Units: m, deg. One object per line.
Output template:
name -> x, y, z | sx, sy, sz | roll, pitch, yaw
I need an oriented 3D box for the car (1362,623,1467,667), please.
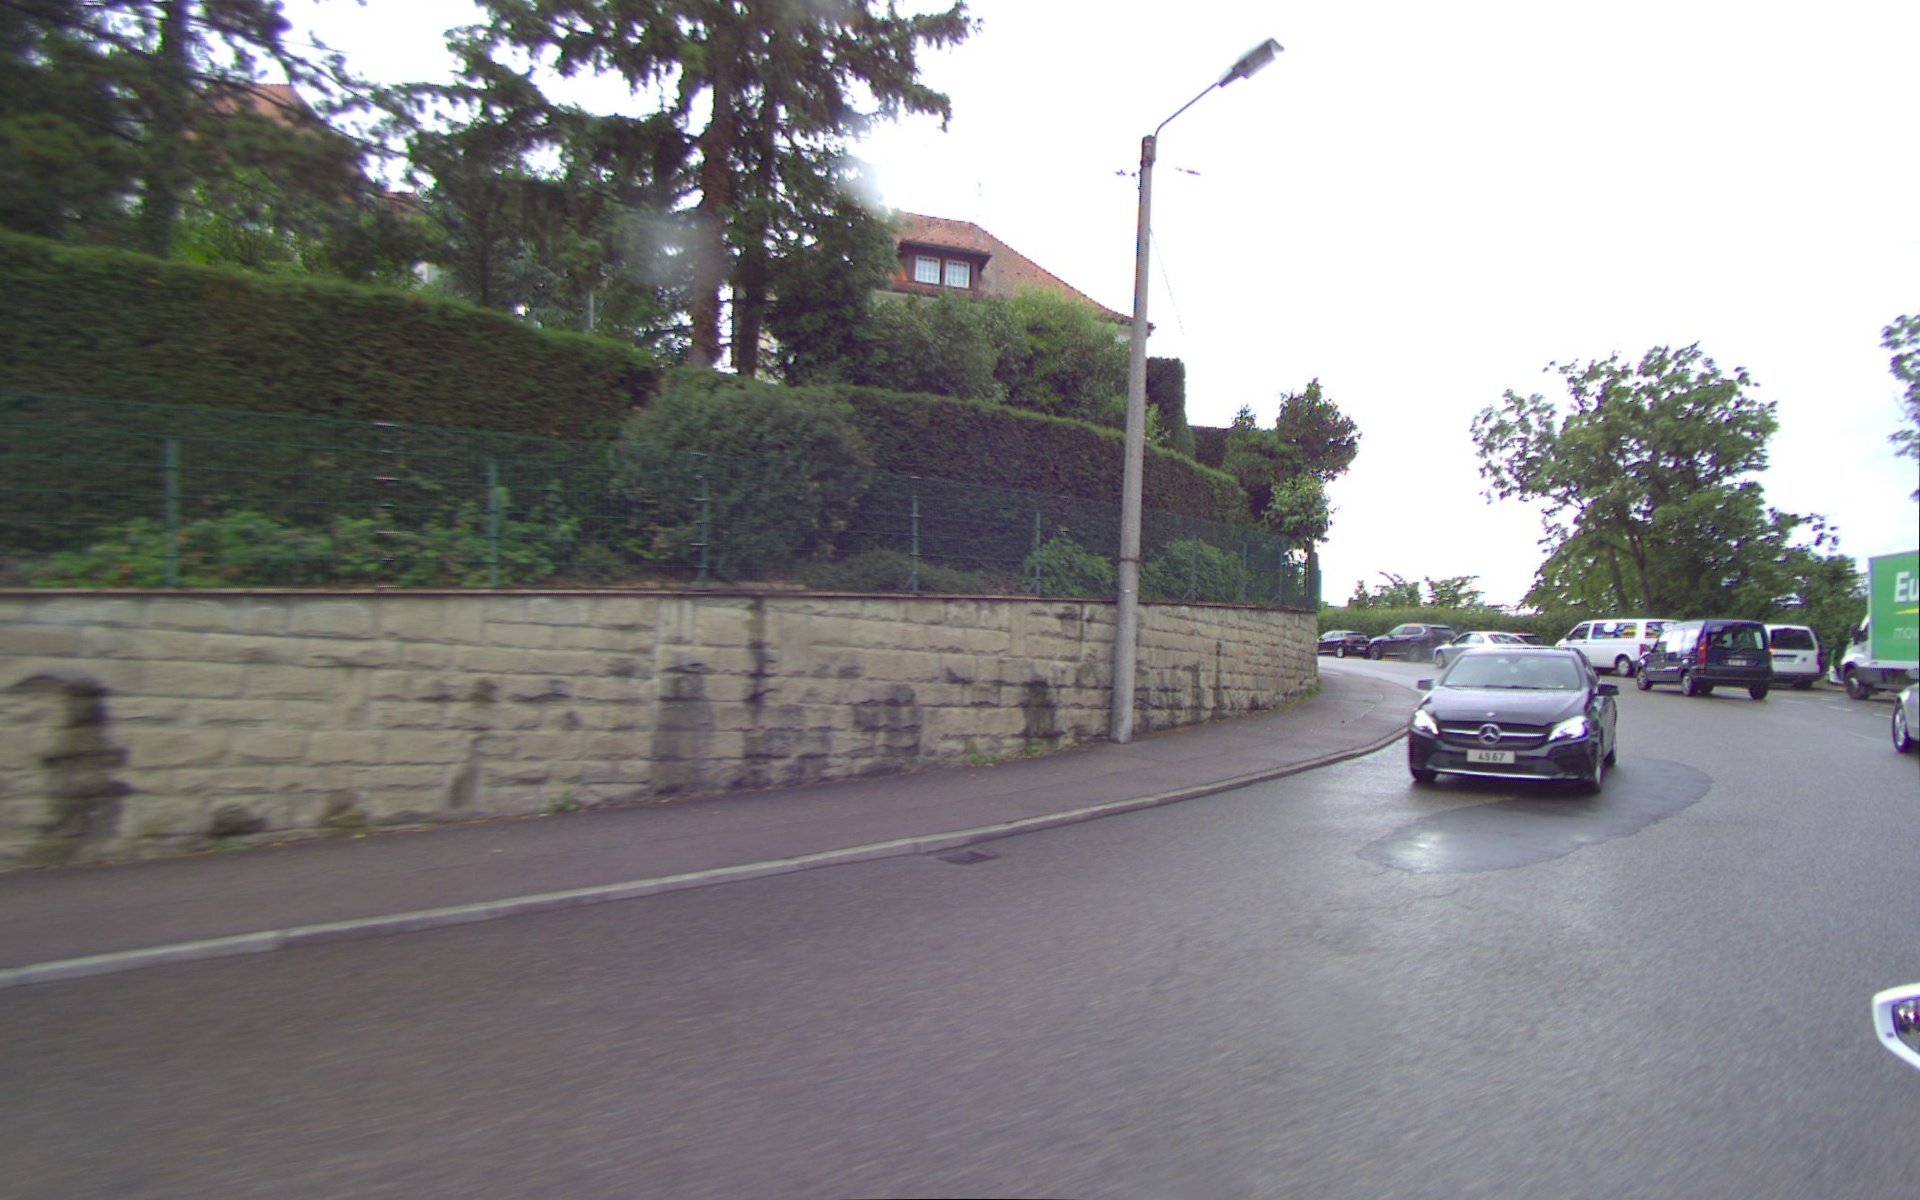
car -> 21.437, 2.094, 47.645 | 1.998, 1.806, 4.887 | 4, -1, -12

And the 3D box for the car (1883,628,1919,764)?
car -> 11.934, 1.117, 11.086 | 1.956, 1.574, 4.285 | 0, -2, 34

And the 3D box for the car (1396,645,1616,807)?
car -> 6.281, 1.242, 11.322 | 1.763, 1.453, 4.103 | -2, -3, 34

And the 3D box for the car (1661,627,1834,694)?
car -> 23.339, 1.724, 30.004 | 1.829, 1.794, 4.380 | 2, -1, 2

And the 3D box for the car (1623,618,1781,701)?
car -> 18.408, 1.460, 25.166 | 1.793, 1.907, 4.098 | -1, -3, 15

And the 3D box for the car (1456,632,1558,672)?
car -> 22.876, 2.159, 42.186 | 1.648, 1.432, 3.732 | 4, -1, -14

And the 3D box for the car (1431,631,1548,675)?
car -> 18.792, 1.877, 35.885 | 1.824, 1.477, 4.094 | 0, -3, -3

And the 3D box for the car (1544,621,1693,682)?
car -> 23.445, 1.780, 36.020 | 1.831, 1.974, 4.804 | 2, -1, -6

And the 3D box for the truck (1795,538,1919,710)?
truck -> 21.207, 0.504, 20.944 | 2.727, 3.516, 8.936 | 0, -2, 19

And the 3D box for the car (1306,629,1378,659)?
car -> 20.072, 2.313, 52.957 | 1.664, 1.440, 3.975 | 4, -2, -11

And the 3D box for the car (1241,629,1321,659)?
car -> 18.917, 2.581, 59.366 | 1.782, 1.459, 4.611 | 5, -2, -26
